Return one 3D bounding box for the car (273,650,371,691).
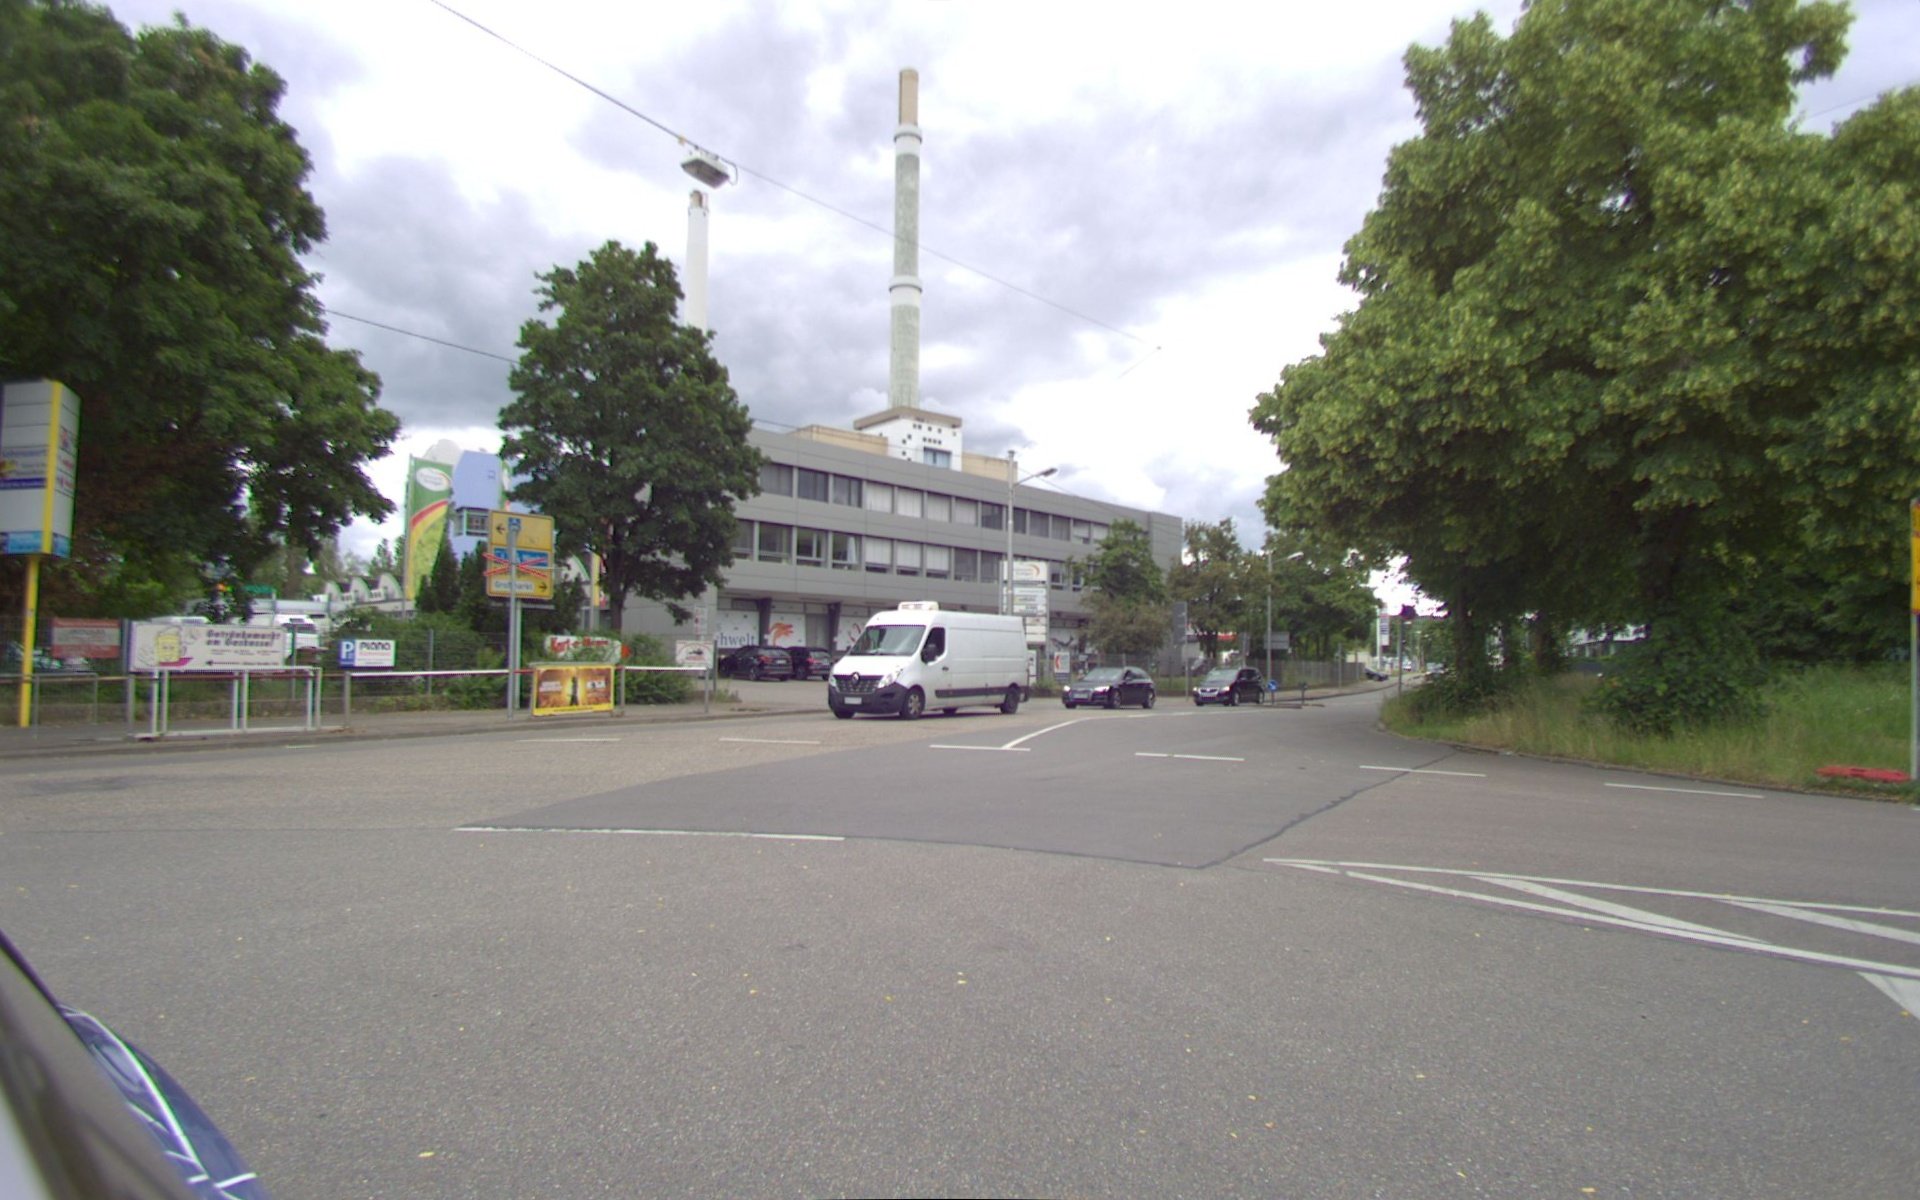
[{"bbox_3d":[-20.838,2.296,33.017,3.700,1.258,1.686,-3,-5,41],"label":"car"}]

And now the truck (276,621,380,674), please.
[{"bbox_3d":[-51.626,3.961,82.356,15.724,3.964,2.812,-3,-5,42],"label":"truck"}]

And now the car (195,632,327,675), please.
[{"bbox_3d":[-47.669,3.723,69.175,2.244,2.754,7.050,-3,-6,44],"label":"car"}]

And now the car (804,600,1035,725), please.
[{"bbox_3d":[-0.711,1.445,23.302,2.381,2.478,6.034,-3,-5,31],"label":"car"}]

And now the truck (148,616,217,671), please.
[{"bbox_3d":[-63.351,3.596,82.394,9.191,4.198,2.956,-3,-5,44],"label":"truck"}]

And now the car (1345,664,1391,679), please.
[{"bbox_3d":[53.025,9.302,131.549,5.435,1.884,2.009,-2,-4,26],"label":"car"}]

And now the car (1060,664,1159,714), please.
[{"bbox_3d":[5.080,2.923,33.864,1.858,1.524,4.396,-2,-4,29],"label":"car"}]

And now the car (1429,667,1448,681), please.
[{"bbox_3d":[54.446,8.405,115.191,1.786,1.653,4.403,-2,-4,25],"label":"car"}]

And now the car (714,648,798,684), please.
[{"bbox_3d":[-9.898,3.168,48.898,1.811,1.630,4.469,4,-4,-44],"label":"car"}]

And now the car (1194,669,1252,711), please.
[{"bbox_3d":[11.086,3.728,42.501,1.784,1.653,4.407,-1,-4,22],"label":"car"}]

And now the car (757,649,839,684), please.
[{"bbox_3d":[-8.168,3.341,50.927,1.812,1.630,4.426,4,-4,-45],"label":"car"}]

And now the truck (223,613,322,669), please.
[{"bbox_3d":[-54.132,3.333,79.344,15.727,3.964,2.812,-3,-5,43],"label":"truck"}]
